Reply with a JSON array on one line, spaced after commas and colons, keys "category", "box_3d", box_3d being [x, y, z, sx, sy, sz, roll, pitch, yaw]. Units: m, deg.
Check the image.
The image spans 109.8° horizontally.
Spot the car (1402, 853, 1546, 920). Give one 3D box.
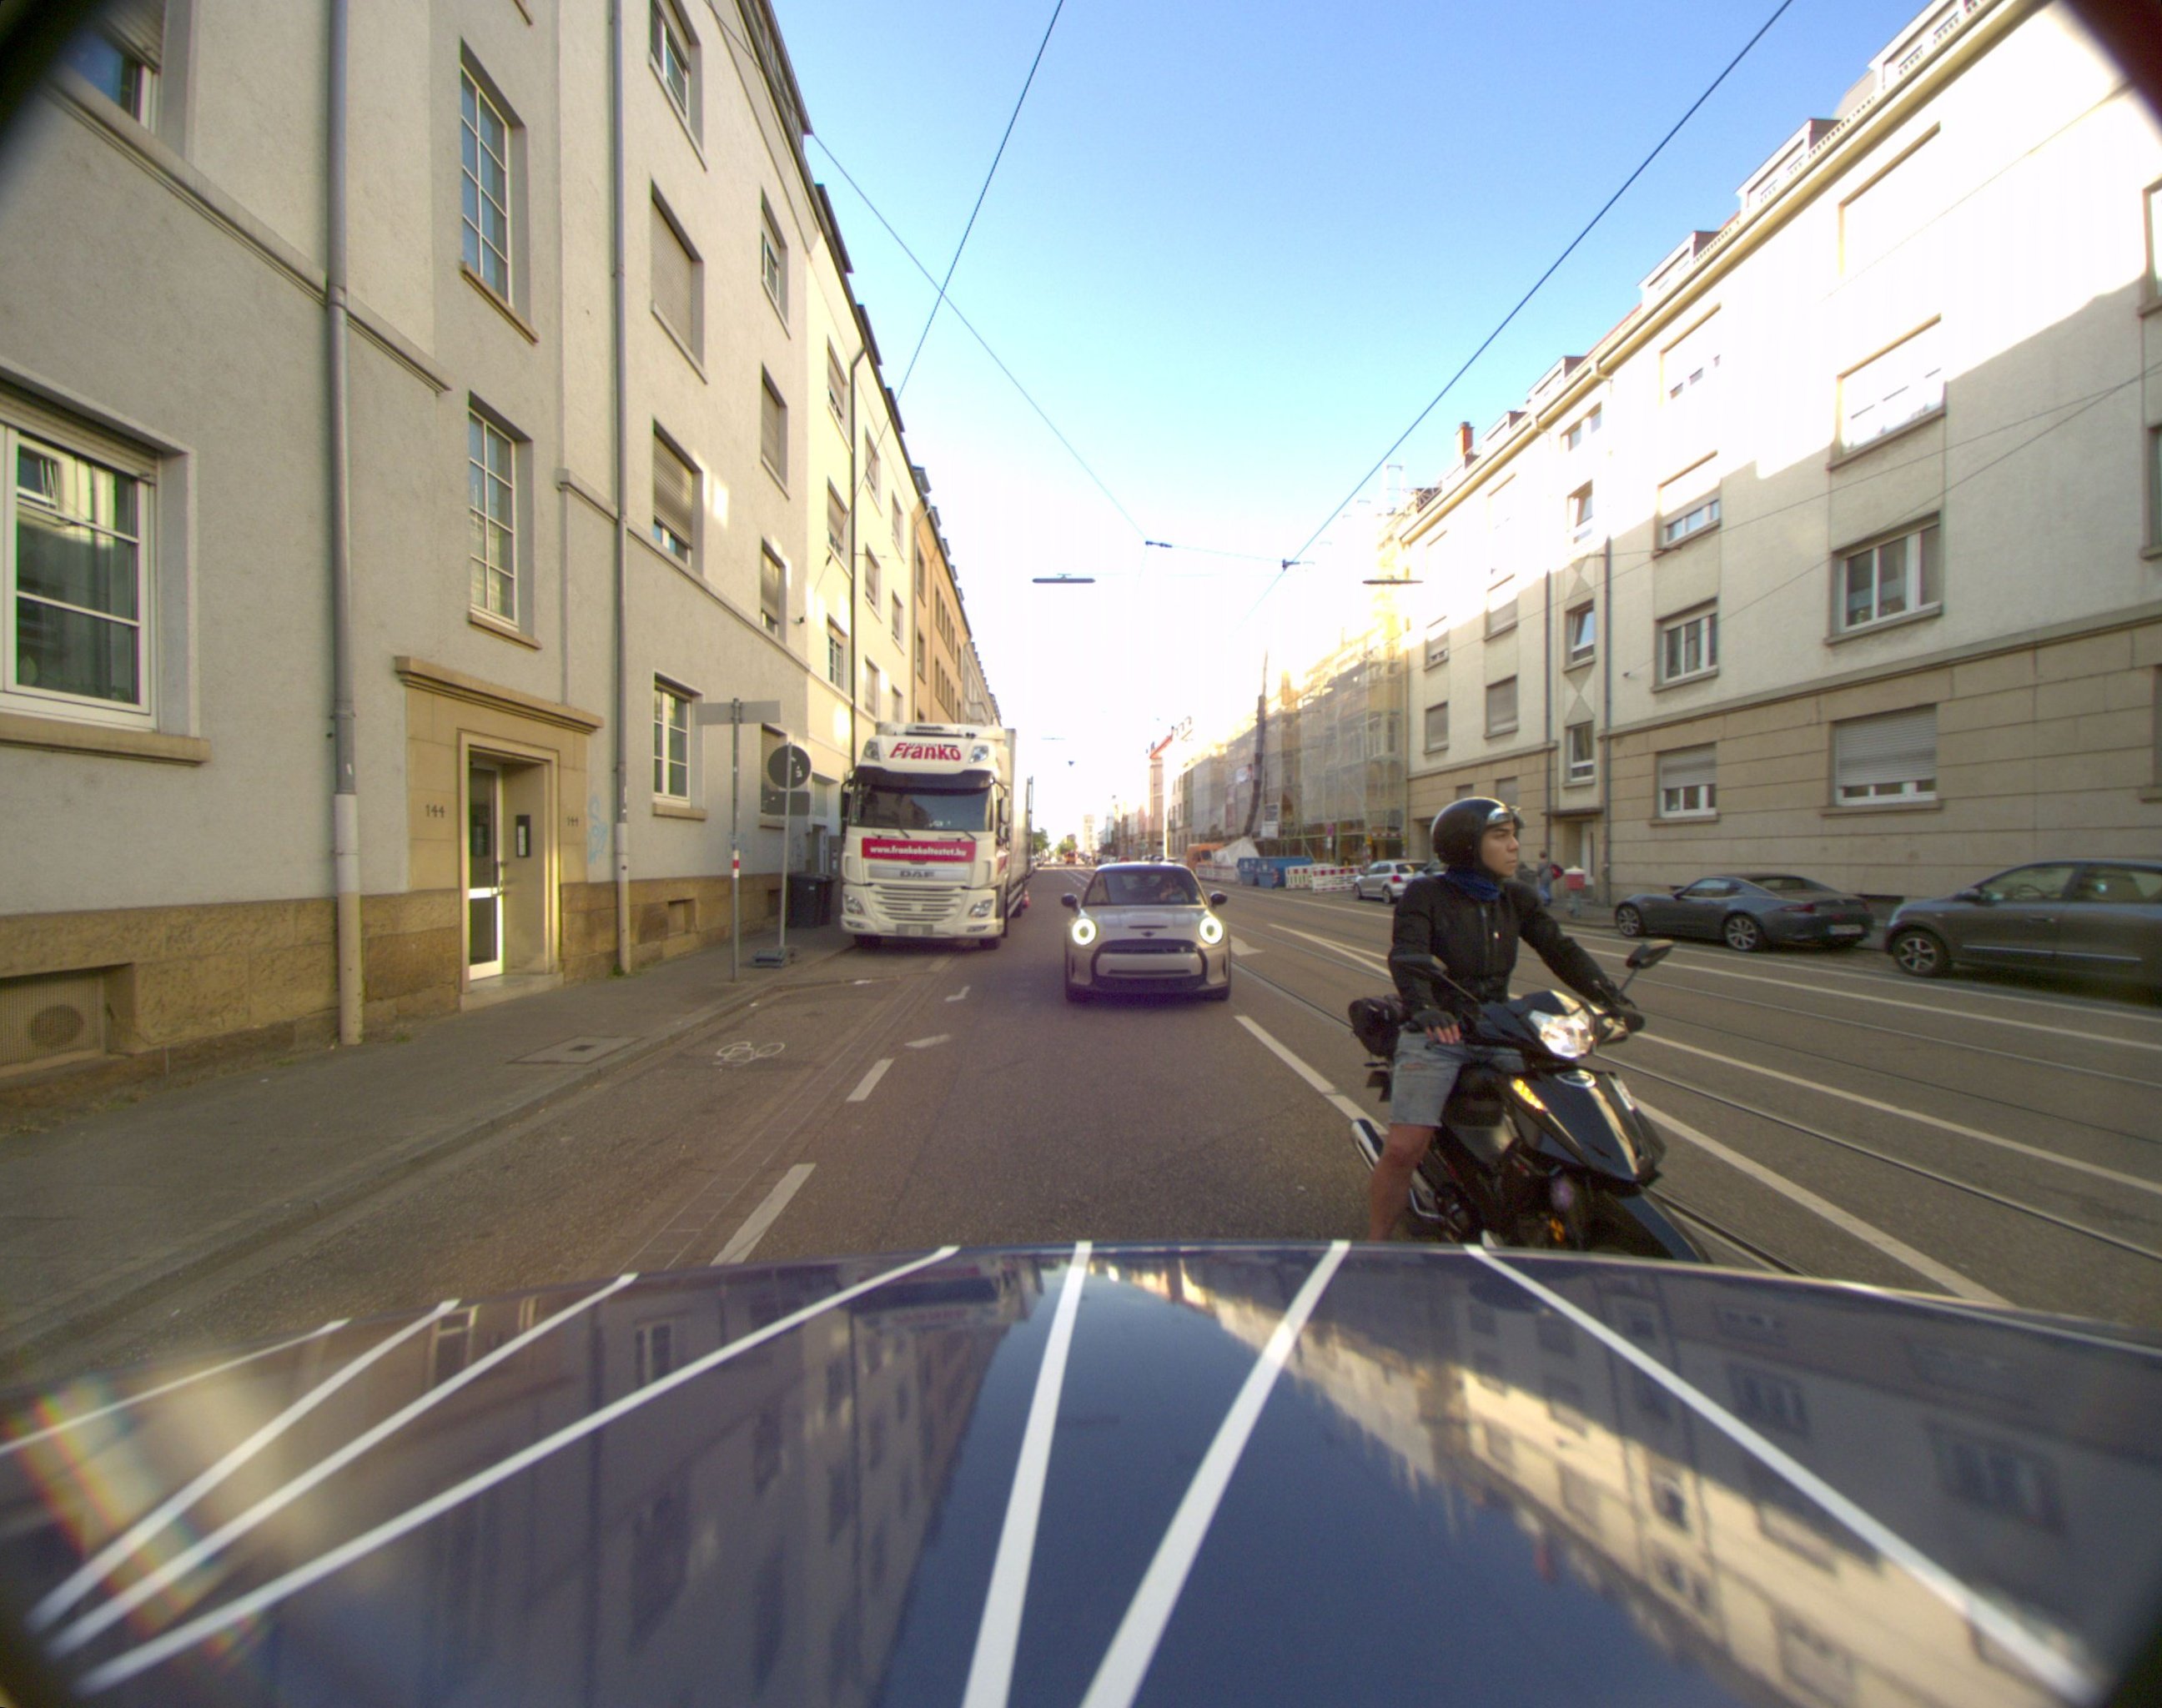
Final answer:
[{"category": "car", "box_3d": [10.830, 0.822, 21.292, 1.712, 1.582, 4.112, -2, 1, -3]}]

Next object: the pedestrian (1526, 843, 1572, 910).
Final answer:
[{"category": "pedestrian", "box_3d": [12.721, 0.590, 20.674, 0.751, 1.753, 0.776, -2, 1, 1]}]

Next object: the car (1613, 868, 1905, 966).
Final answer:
[{"category": "car", "box_3d": [11.235, 0.964, 12.952, 1.751, 1.269, 3.488, -2, 1, -4]}]

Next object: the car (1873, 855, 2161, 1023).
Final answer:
[{"category": "car", "box_3d": [11.416, 0.839, 8.367, 1.670, 1.563, 3.496, -2, 1, -2]}]

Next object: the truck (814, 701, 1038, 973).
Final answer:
[{"category": "truck", "box_3d": [-2.632, -0.248, 17.175, 2.899, 3.939, 11.704, -2, 0, -2]}]

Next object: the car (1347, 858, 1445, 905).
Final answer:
[{"category": "car", "box_3d": [10.635, 0.870, 25.896, 1.637, 1.383, 3.643, -2, 1, -3]}]

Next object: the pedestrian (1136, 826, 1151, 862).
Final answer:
[{"category": "pedestrian", "box_3d": [7.755, -1.285, 94.331, 1.723, 4.377, 1.153, -2, 1, 2]}]

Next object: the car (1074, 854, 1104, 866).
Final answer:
[{"category": "car", "box_3d": [1.060, 0.790, 104.449, 3.998, 1.468, 2.149, -2, 1, -2]}]

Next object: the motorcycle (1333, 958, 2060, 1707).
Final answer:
[{"category": "motorcycle", "box_3d": [1.349, 1.068, 2.241, 0.538, 1.212, 1.981, -2, 1, 1]}]

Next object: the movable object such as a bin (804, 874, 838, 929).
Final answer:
[{"category": "movable object such as a bin", "box_3d": [-5.349, 0.970, 15.633, 0.512, 1.085, 0.495, -2, 1, -4]}]

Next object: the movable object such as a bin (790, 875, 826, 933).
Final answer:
[{"category": "movable object such as a bin", "box_3d": [-5.383, 0.979, 15.005, 0.512, 1.085, 0.495, -2, 1, -4]}]

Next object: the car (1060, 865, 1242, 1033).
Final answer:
[{"category": "car", "box_3d": [0.648, 0.913, 9.085, 1.692, 1.495, 4.000, 0, 0, 0]}]

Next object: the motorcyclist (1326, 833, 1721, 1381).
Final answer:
[{"category": "motorcyclist", "box_3d": [1.322, 0.702, 2.397, 0.862, 1.496, 0.598, -2, 1, 1]}]
